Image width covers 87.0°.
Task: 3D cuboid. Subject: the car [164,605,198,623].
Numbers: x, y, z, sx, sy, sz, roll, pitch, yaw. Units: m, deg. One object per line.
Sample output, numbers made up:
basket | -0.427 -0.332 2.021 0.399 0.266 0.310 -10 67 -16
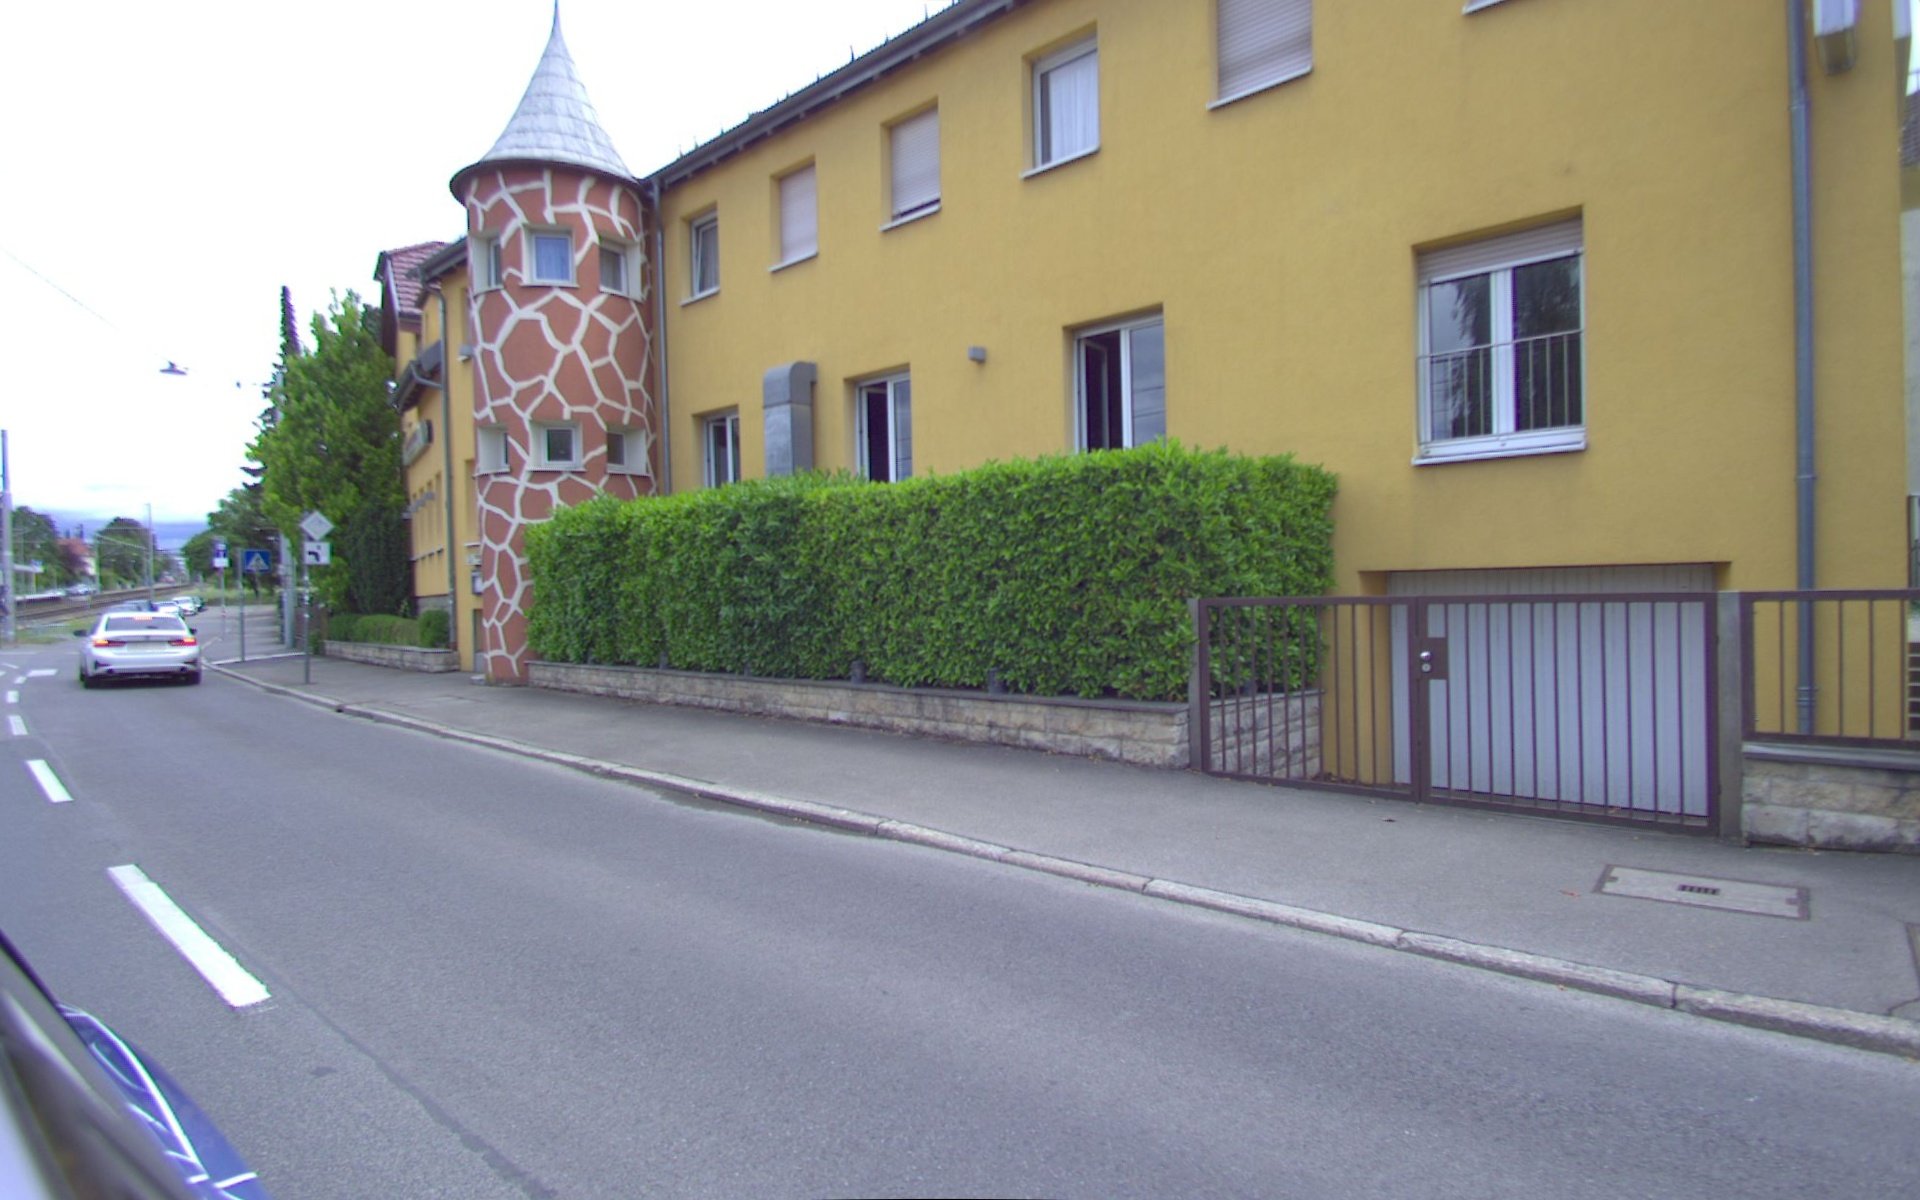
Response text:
car | -62.854 1.105 81.716 1.824 1.386 4.011 -3 1 -33

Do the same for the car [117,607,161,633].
car | -51.487 1.245 63.531 1.792 1.513 4.130 -3 1 -35

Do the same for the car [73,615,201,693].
car | -16.947 1.031 20.755 1.796 1.430 4.469 2 -2 -42

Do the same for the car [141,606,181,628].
car | -56.942 1.189 72.209 1.824 1.386 4.011 -3 1 -33

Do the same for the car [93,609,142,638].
car | -48.064 1.298 57.805 1.792 1.513 4.130 -3 1 -35

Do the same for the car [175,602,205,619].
car | -69.395 0.924 91.292 1.824 1.386 4.011 -3 1 -33
